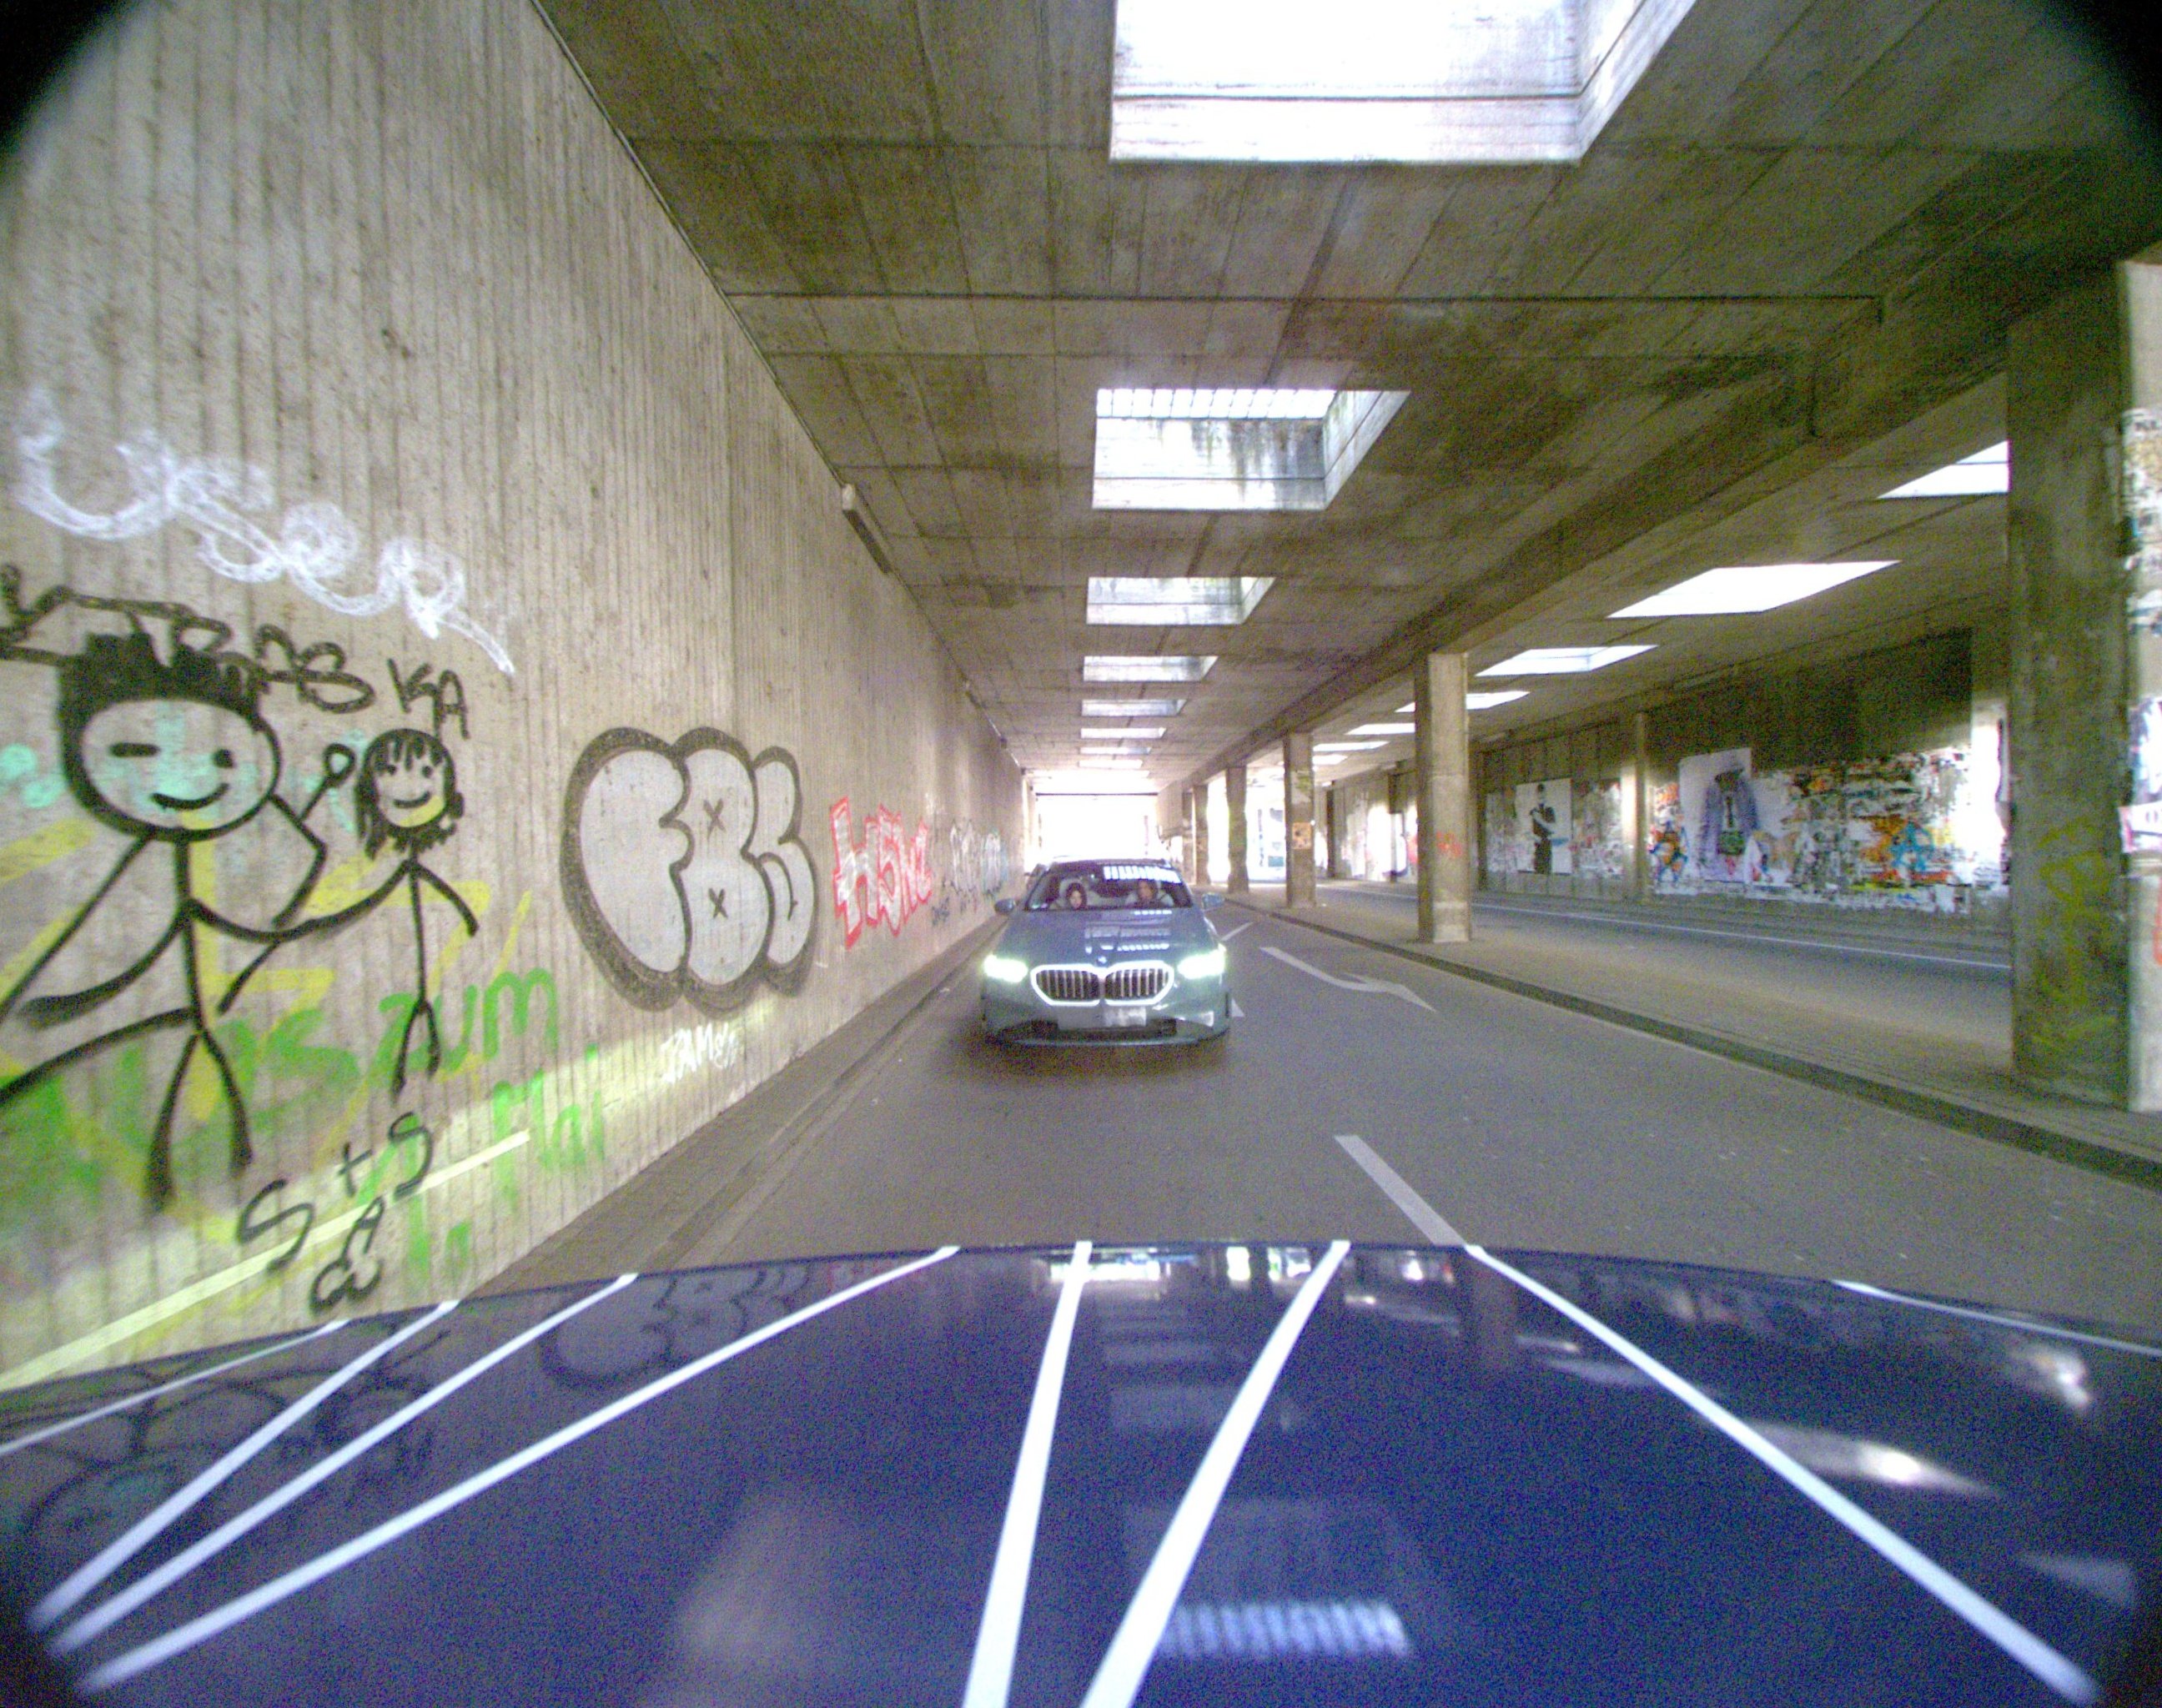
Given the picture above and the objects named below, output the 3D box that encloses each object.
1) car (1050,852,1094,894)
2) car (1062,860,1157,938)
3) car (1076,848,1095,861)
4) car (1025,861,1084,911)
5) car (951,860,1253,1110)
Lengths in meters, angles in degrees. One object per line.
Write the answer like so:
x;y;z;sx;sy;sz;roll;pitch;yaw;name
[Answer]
-0.306;0.701;30.179;1.616;1.546;4.013;-1;0;1;car
0.622;0.954;17.912;1.957;1.546;4.247;-1;0;1;car
0.552;0.082;94.792;1.934;1.543;3.997;-1;0;-7;car
-0.762;0.933;24.004;1.616;1.367;4.199;-1;0;1;car
0.172;0.884;7.519;1.957;1.546;5.040;-1;0;1;car
